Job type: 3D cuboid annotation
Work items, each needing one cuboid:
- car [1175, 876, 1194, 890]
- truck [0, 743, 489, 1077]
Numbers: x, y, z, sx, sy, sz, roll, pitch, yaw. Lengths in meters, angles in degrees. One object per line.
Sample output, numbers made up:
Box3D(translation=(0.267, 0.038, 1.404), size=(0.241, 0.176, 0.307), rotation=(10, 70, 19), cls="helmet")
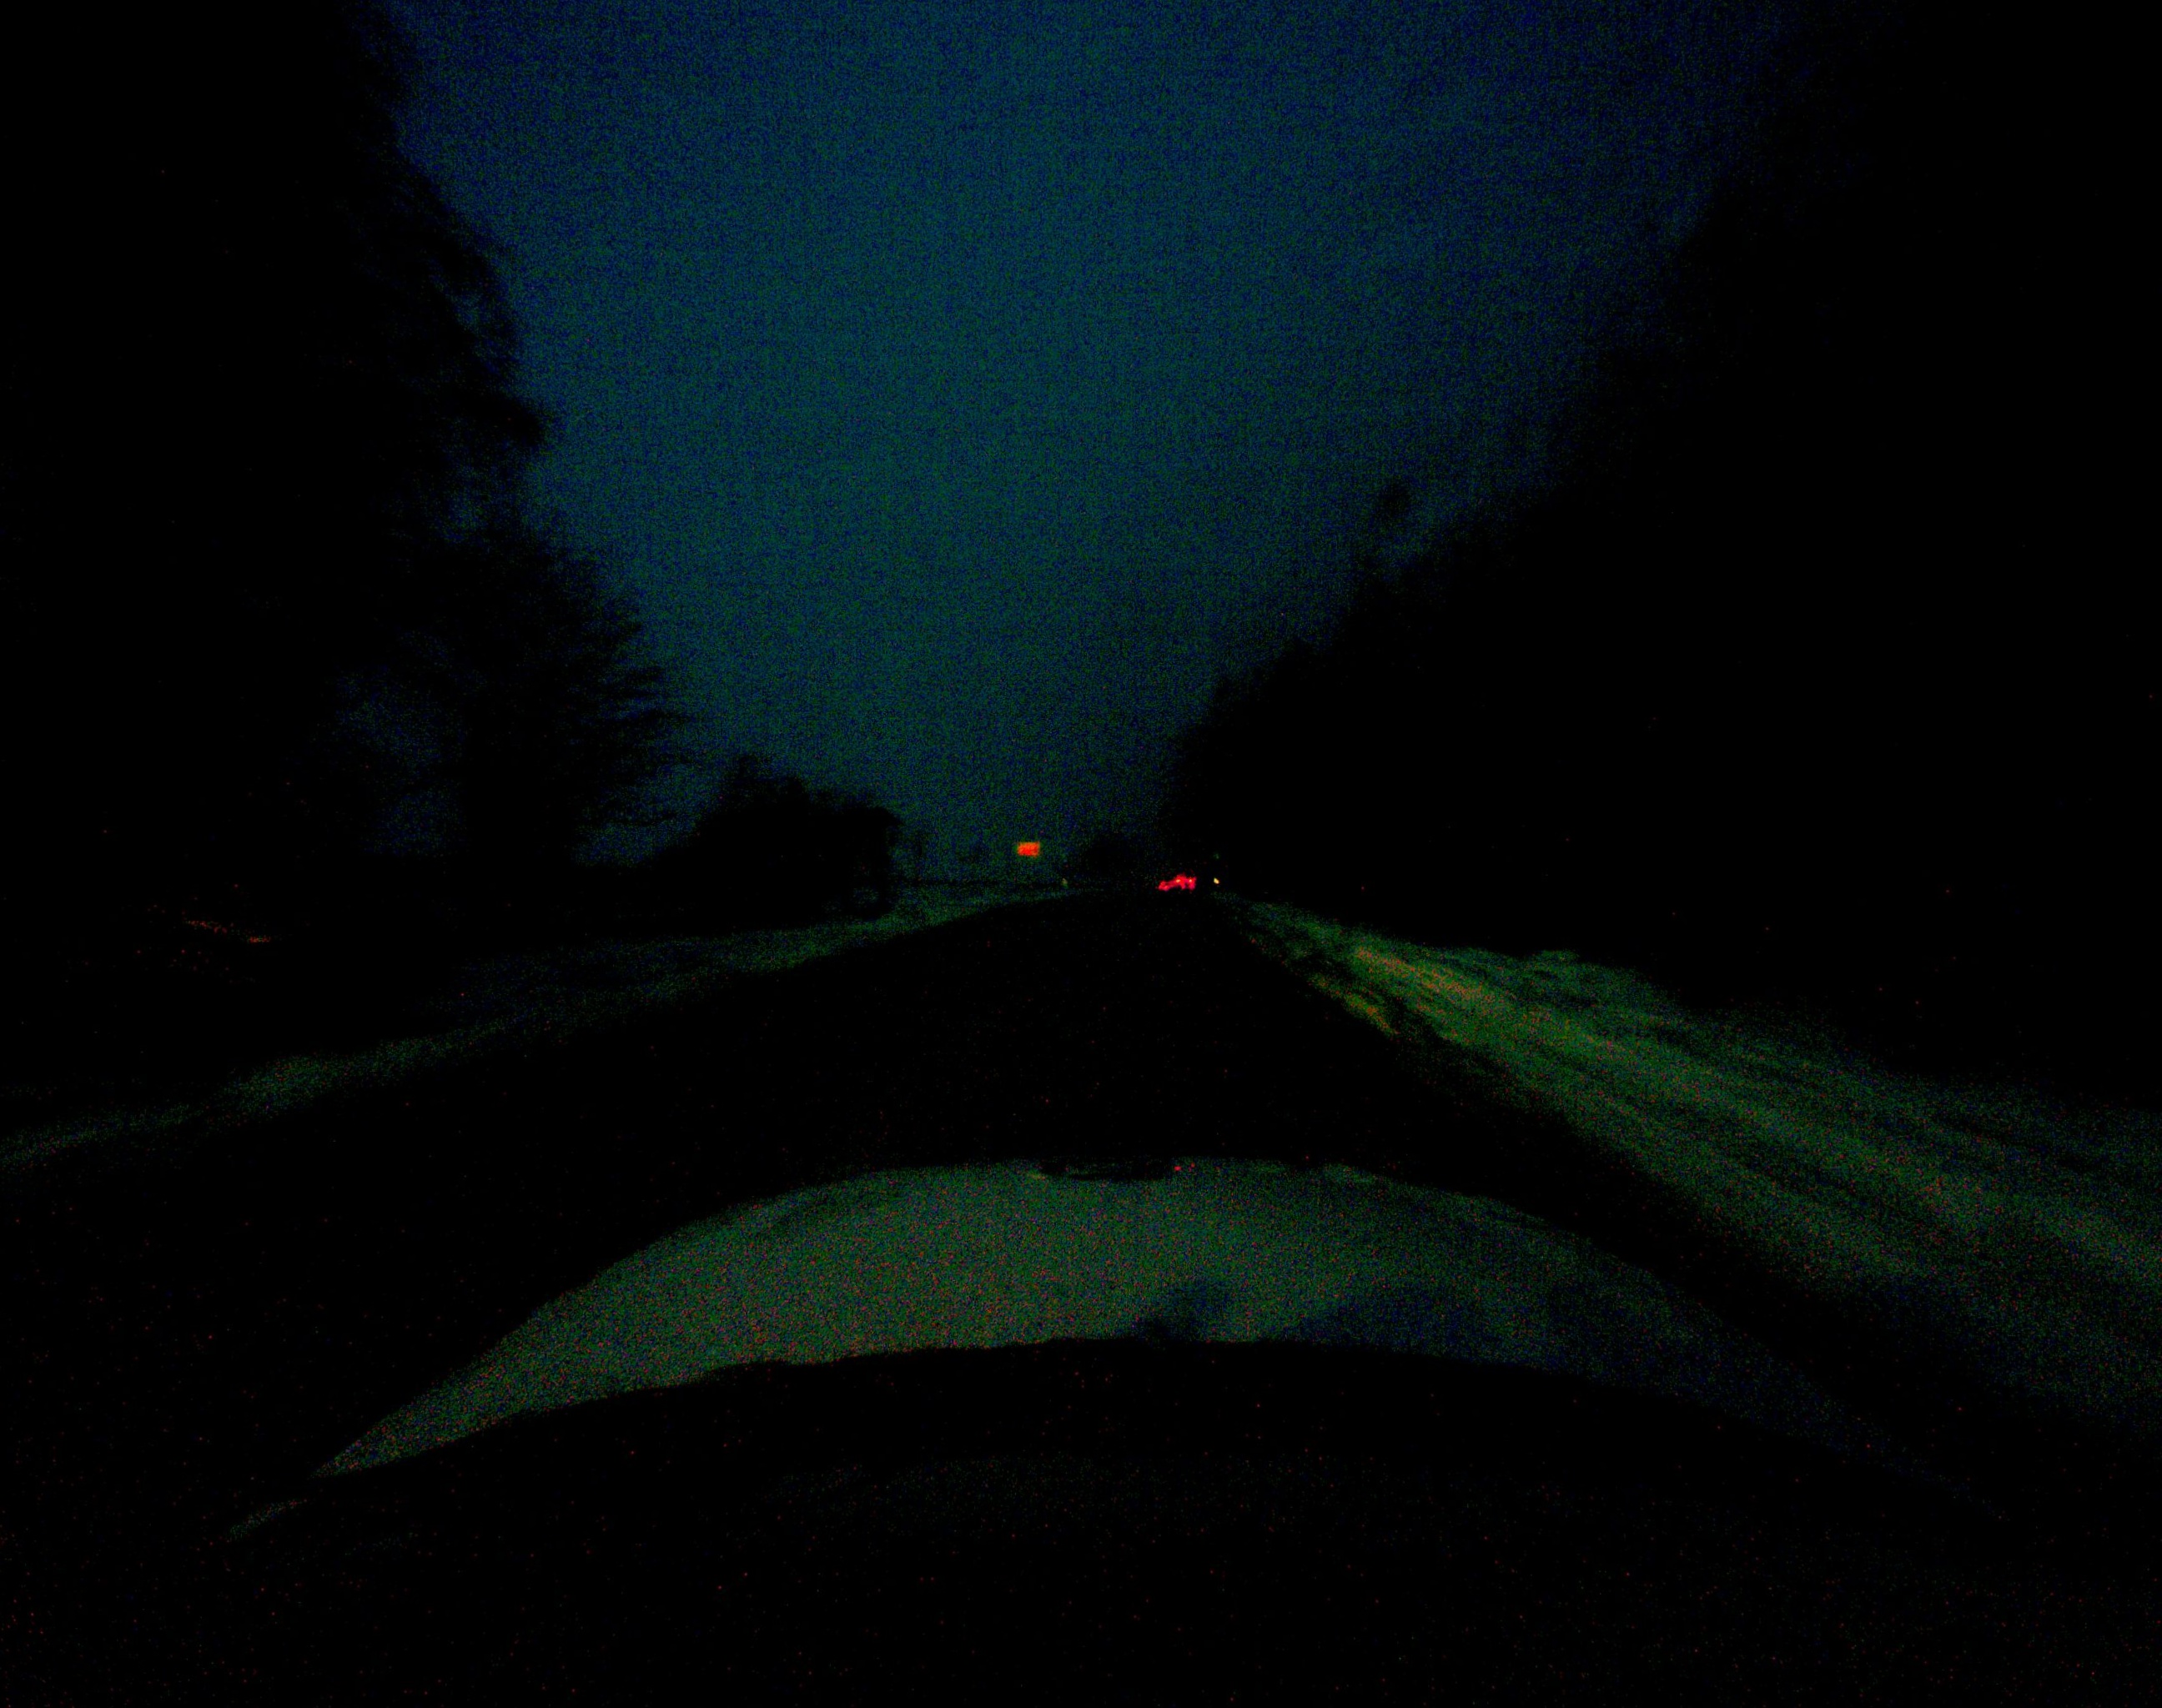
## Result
Box3D(translation=(11.373, 3.176, 89.888), size=(1.983, 1.420, 4.006), rotation=(-1, -1, 6), cls="car")
Box3D(translation=(-8.401, 0.463, 6.722), size=(5.254, 2.302, 1.996), rotation=(-3, 1, -6), cls="truck")
